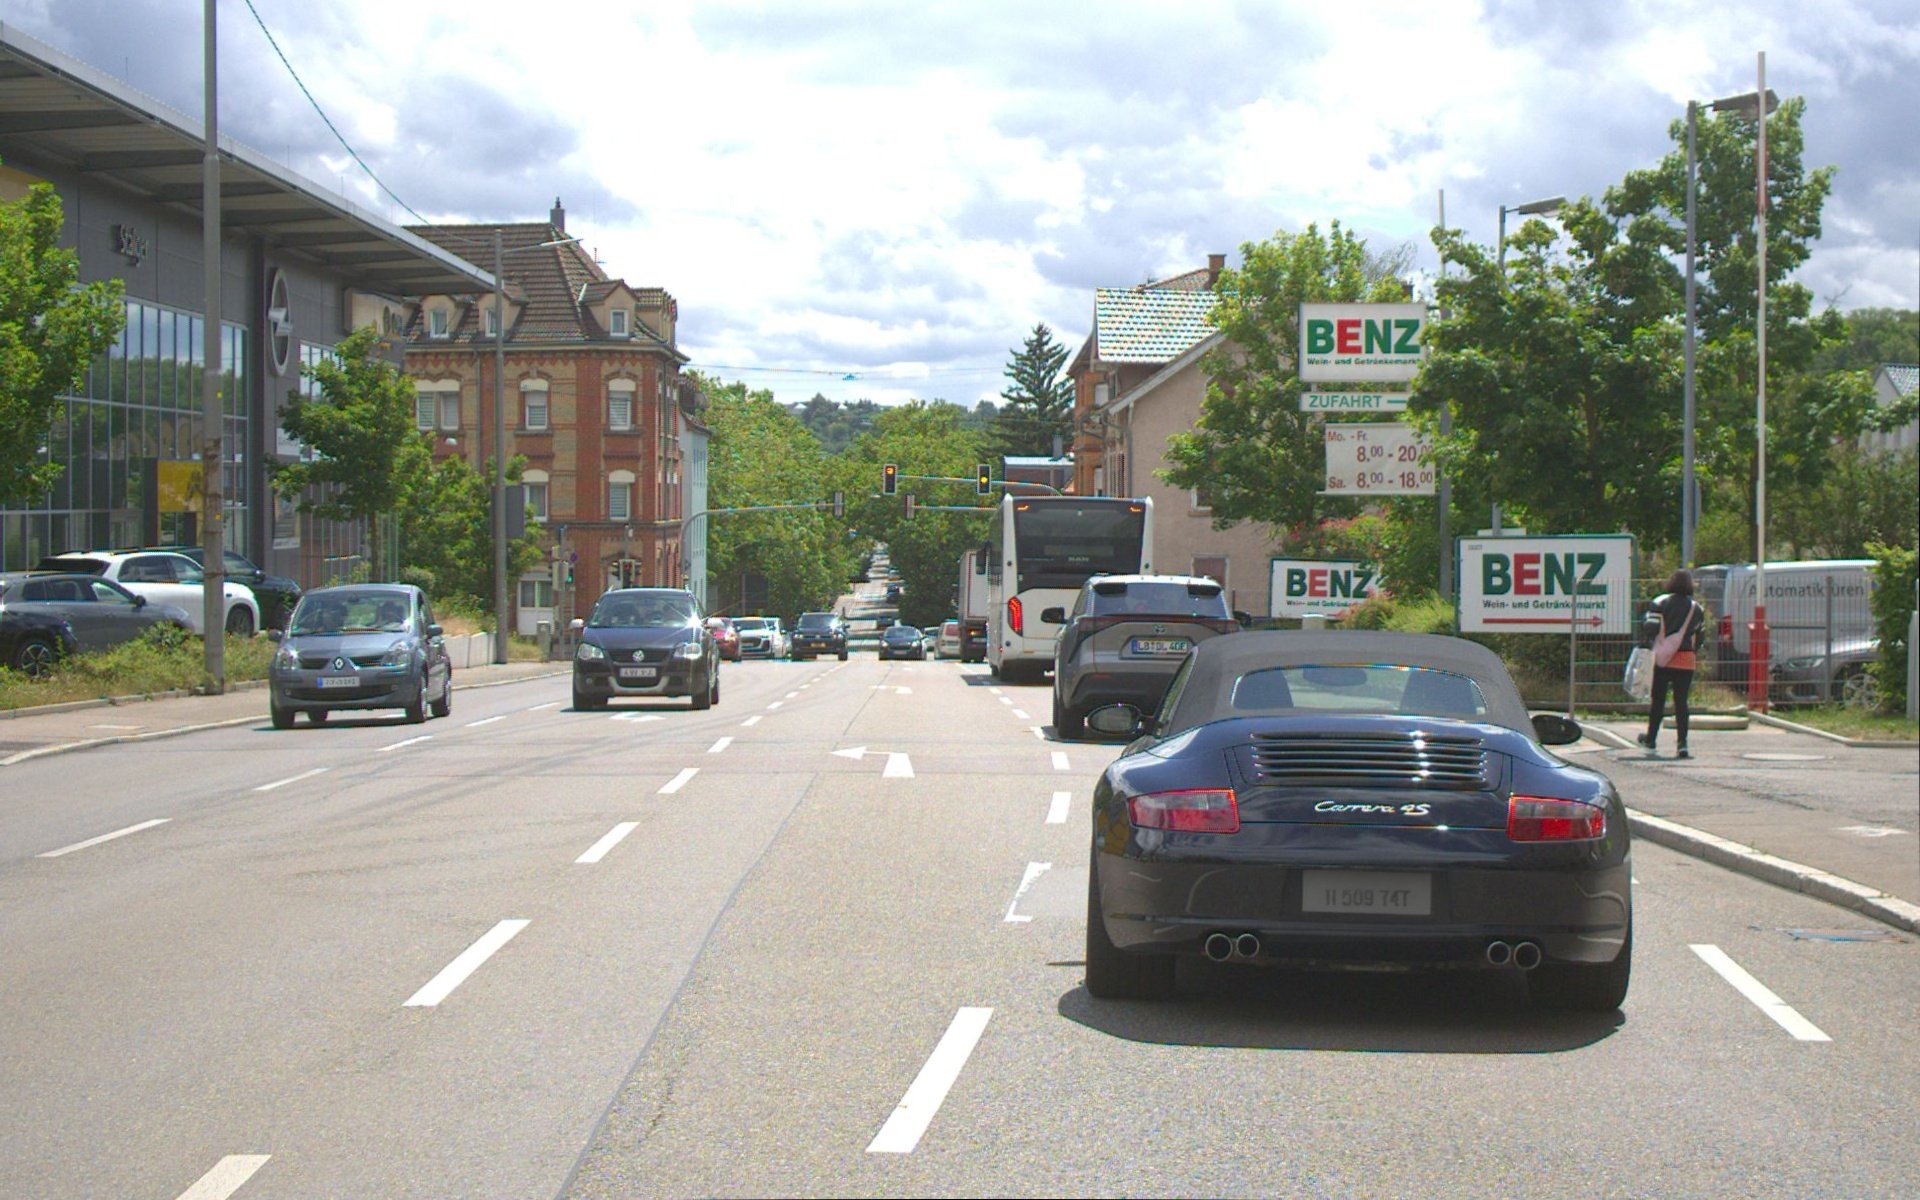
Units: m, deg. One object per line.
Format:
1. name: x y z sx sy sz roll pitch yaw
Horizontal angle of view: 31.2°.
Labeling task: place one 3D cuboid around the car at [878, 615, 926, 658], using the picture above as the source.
1. car: -2.330 1.449 137.051 1.864 1.660 4.259 0 0 -1

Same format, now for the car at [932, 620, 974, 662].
1. car: -0.346 1.915 163.324 1.832 1.875 4.000 0 1 -2

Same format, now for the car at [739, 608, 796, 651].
1. car: -7.147 1.092 127.921 1.864 1.535 4.107 0 0 0

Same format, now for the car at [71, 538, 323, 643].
1. car: -13.345 -0.204 60.412 1.996 1.692 4.479 1 2 25

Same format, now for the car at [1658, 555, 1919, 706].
1. car: 11.670 0.361 44.465 4.706 1.842 2.089 -1 0 -8

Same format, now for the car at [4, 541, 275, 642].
1. car: -13.195 -0.123 55.575 1.933 1.567 4.548 0 0 23

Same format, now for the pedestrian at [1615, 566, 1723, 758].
1. pedestrian: 5.750 0.492 27.925 0.687 1.531 0.856 0 1 -1

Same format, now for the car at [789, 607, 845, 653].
1. car: -4.890 1.028 117.938 1.864 1.535 4.107 0 0 -1

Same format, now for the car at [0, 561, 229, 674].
1. car: -13.028 0.211 50.352 1.897 1.445 4.825 1 2 27

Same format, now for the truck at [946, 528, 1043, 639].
1. truck: 0.956 -0.445 101.360 2.666 3.097 9.035 -1 0 0

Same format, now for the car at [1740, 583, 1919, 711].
1. car: 11.915 0.530 41.637 4.432 1.476 2.000 -1 0 -1

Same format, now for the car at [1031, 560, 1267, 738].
1. car: 1.808 0.436 34.184 1.930 1.577 4.209 0 2 -2

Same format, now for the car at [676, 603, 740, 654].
1. car: -7.958 0.892 108.815 1.871 1.486 3.849 -3 0 -3

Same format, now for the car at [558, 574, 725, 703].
1. car: -3.919 0.453 42.852 1.829 1.504 4.277 0 0 -2

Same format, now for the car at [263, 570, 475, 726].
1. car: -6.630 0.495 38.944 1.743 1.590 4.043 -2 1 -2

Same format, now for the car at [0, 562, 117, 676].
1. car: -13.749 0.263 45.898 4.464 1.504 1.942 -1 0 -42

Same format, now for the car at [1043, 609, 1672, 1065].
1. car: 1.308 0.756 12.990 1.930 1.372 4.208 0 1 1

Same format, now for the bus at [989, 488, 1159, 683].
1. bus: 2.014 -0.439 63.312 2.802 3.187 12.196 0 2 1
